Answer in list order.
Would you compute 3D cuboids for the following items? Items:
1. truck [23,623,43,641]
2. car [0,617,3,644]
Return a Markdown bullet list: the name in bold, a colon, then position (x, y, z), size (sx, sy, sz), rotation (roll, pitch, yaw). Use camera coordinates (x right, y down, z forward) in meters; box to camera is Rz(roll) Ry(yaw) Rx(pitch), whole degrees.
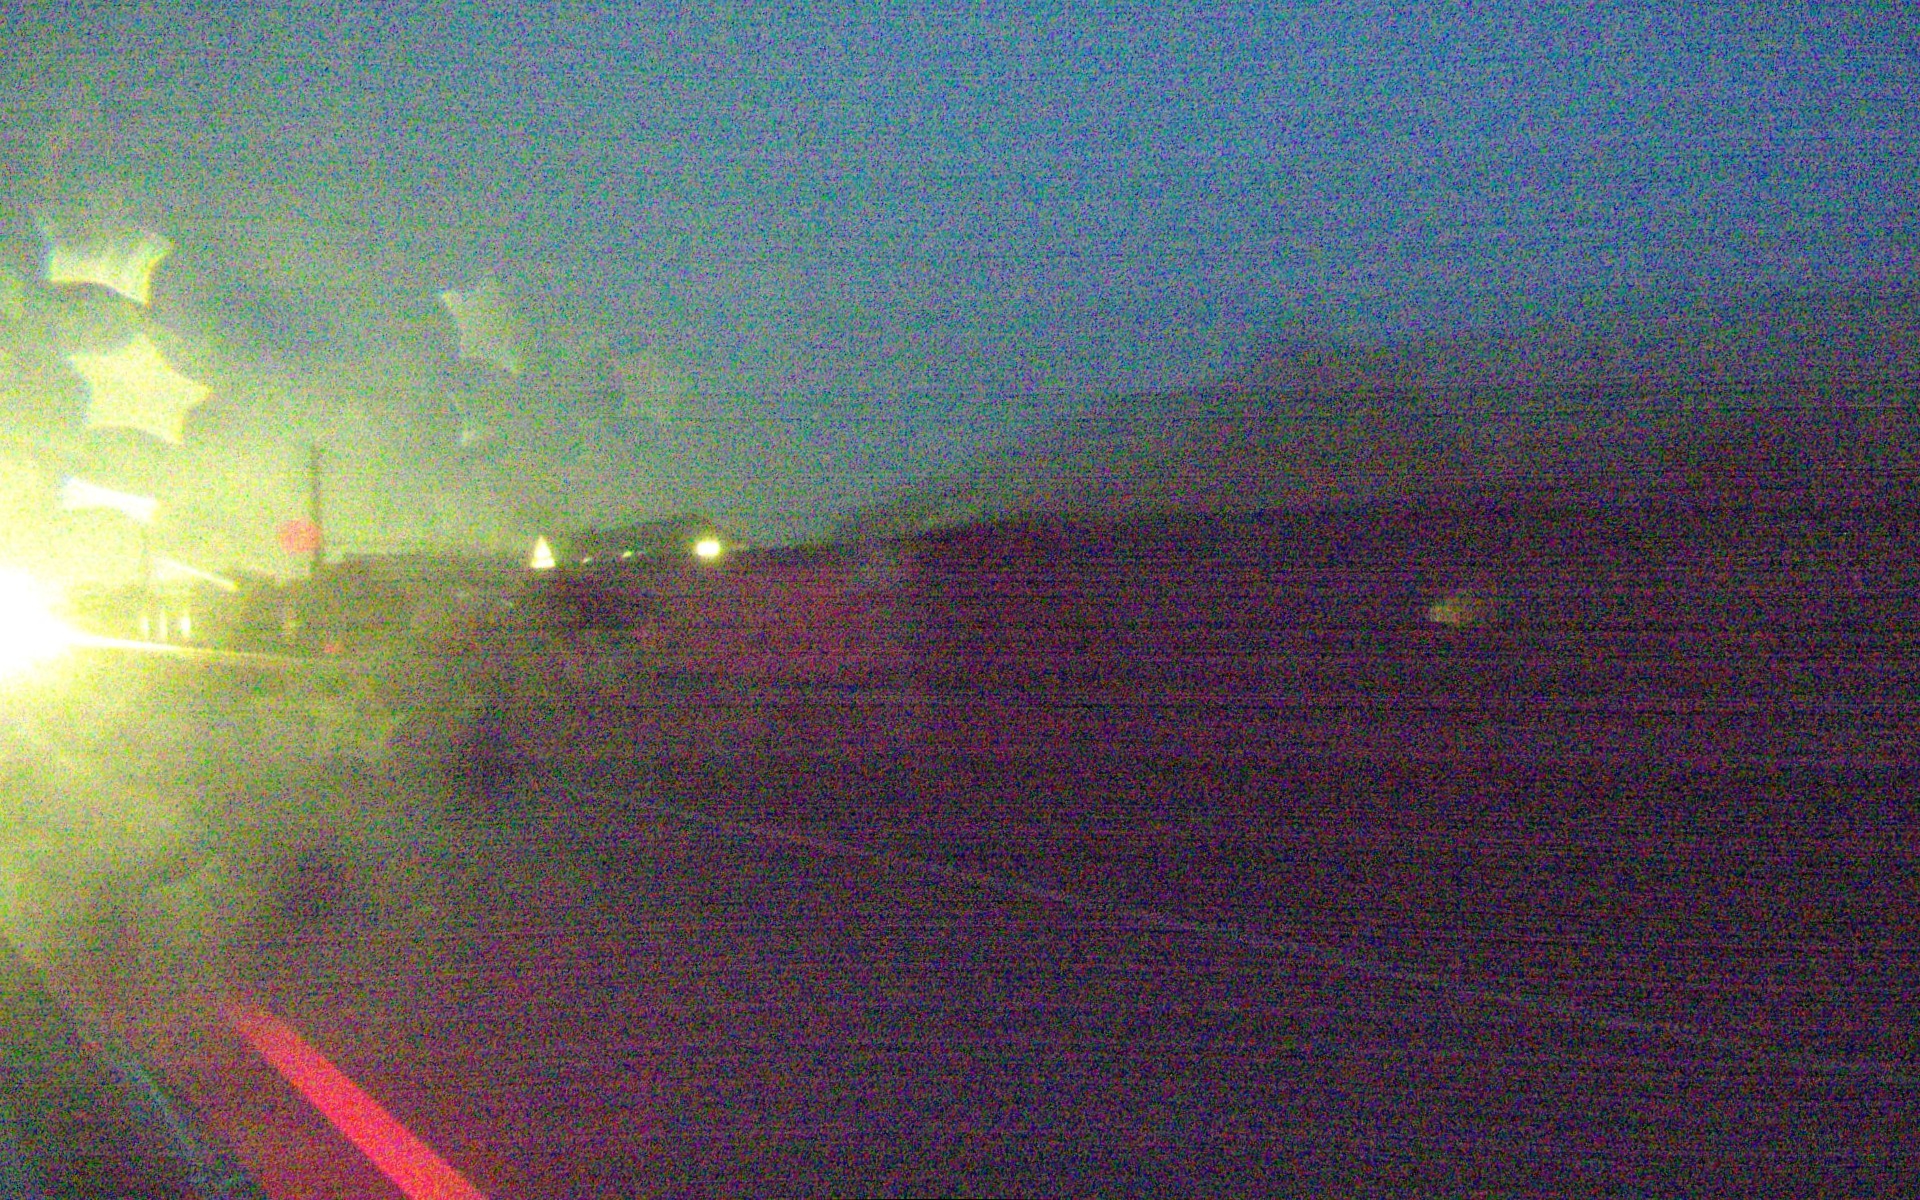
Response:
- **truck**: position (-137.700, 4.718, 150.307), size (2.112, 2.554, 5.283), rotation (0, -2, -43)
- **car**: position (-62.420, 1.964, 64.623), size (1.898, 1.658, 4.028), rotation (1, -2, -44)
